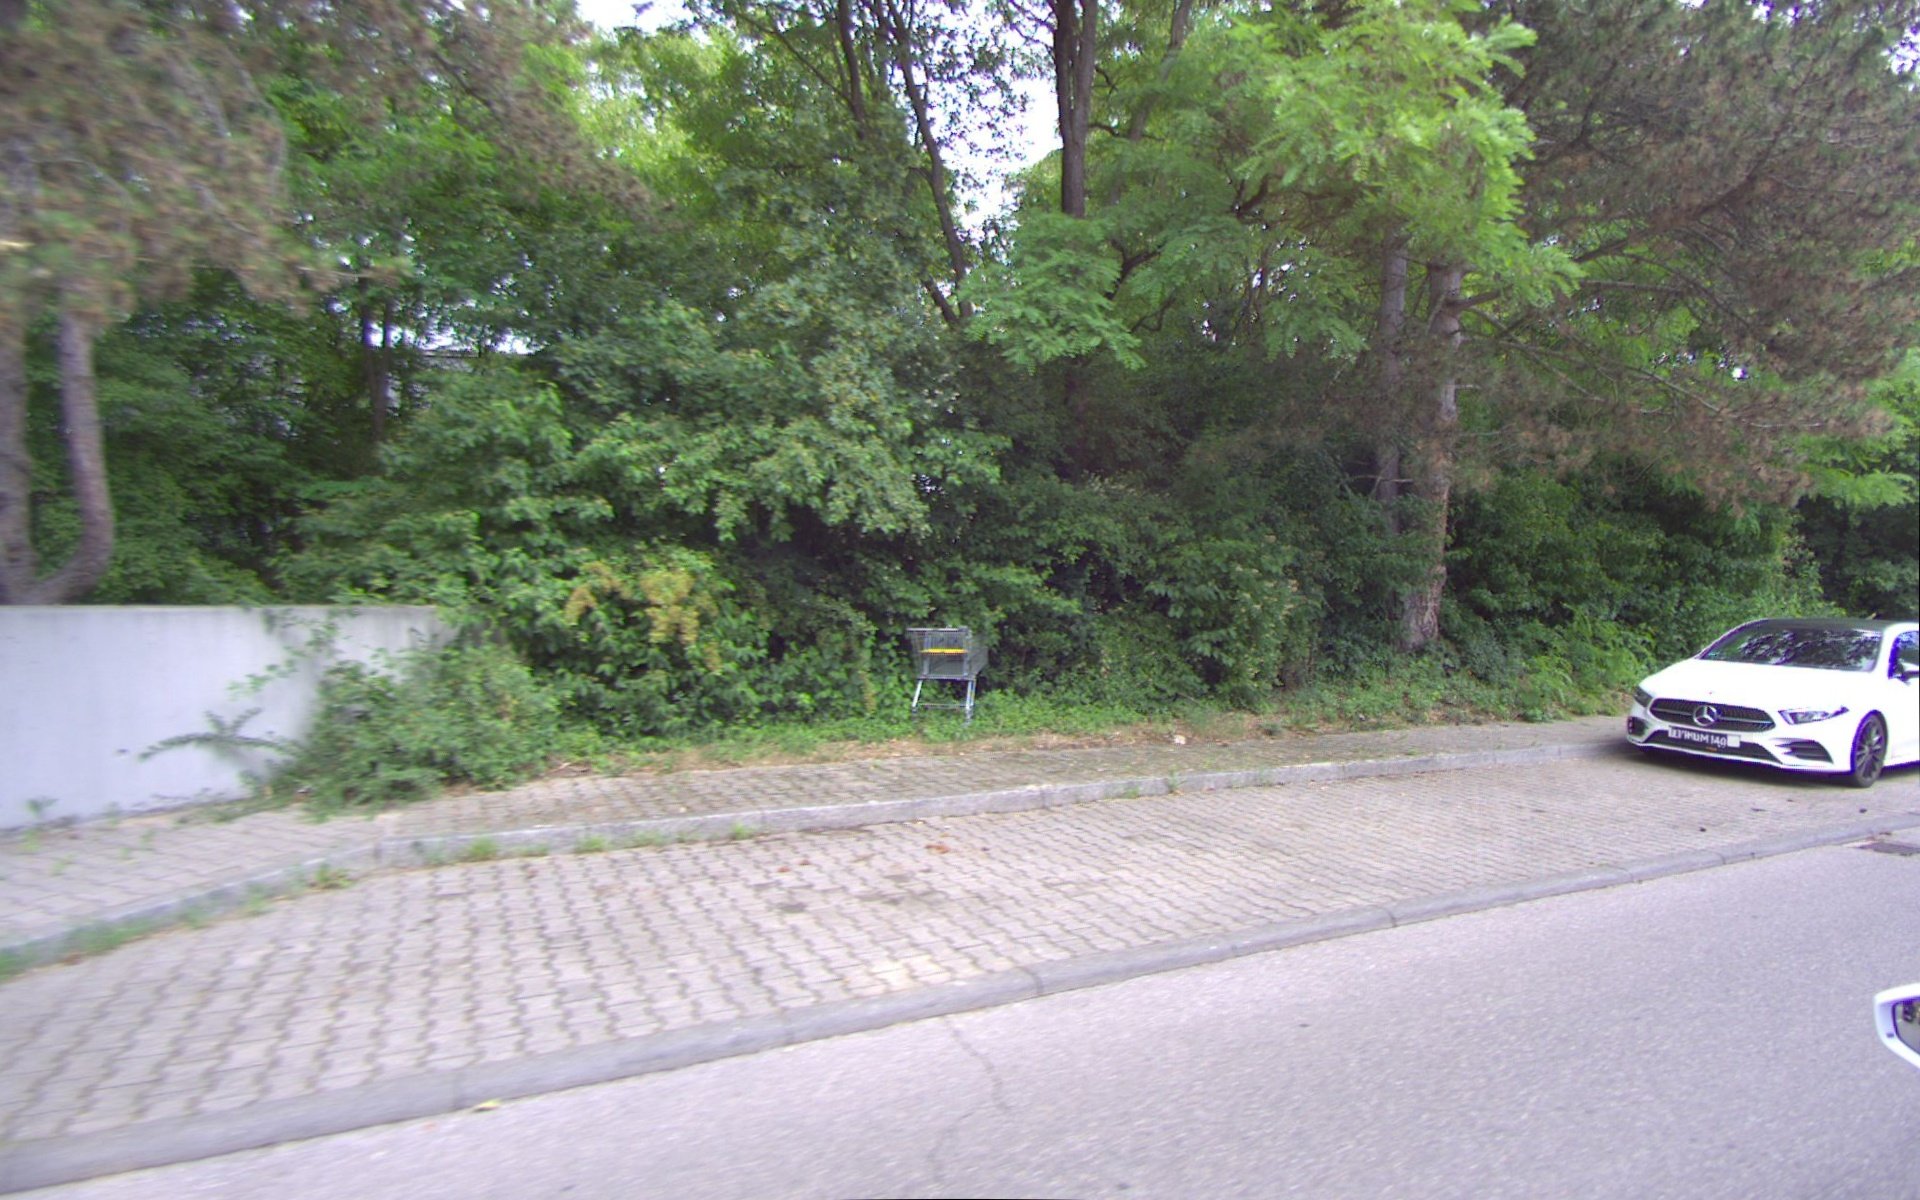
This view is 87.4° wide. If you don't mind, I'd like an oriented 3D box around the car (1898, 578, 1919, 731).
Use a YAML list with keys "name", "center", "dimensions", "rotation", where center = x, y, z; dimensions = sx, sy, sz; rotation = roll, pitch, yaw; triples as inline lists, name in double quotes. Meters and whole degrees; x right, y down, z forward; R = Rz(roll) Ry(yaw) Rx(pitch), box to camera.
- name: "car"
  center: [14.324, 0.738, 13.098]
  dimensions: [4.051, 1.947, 1.714]
  rotation: [0, 2, -27]

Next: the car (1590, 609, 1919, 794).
- name: "car"
  center: [8.440, 0.860, 10.007]
  dimensions: [4.319, 1.422, 1.797]
  rotation: [1, 2, -30]
